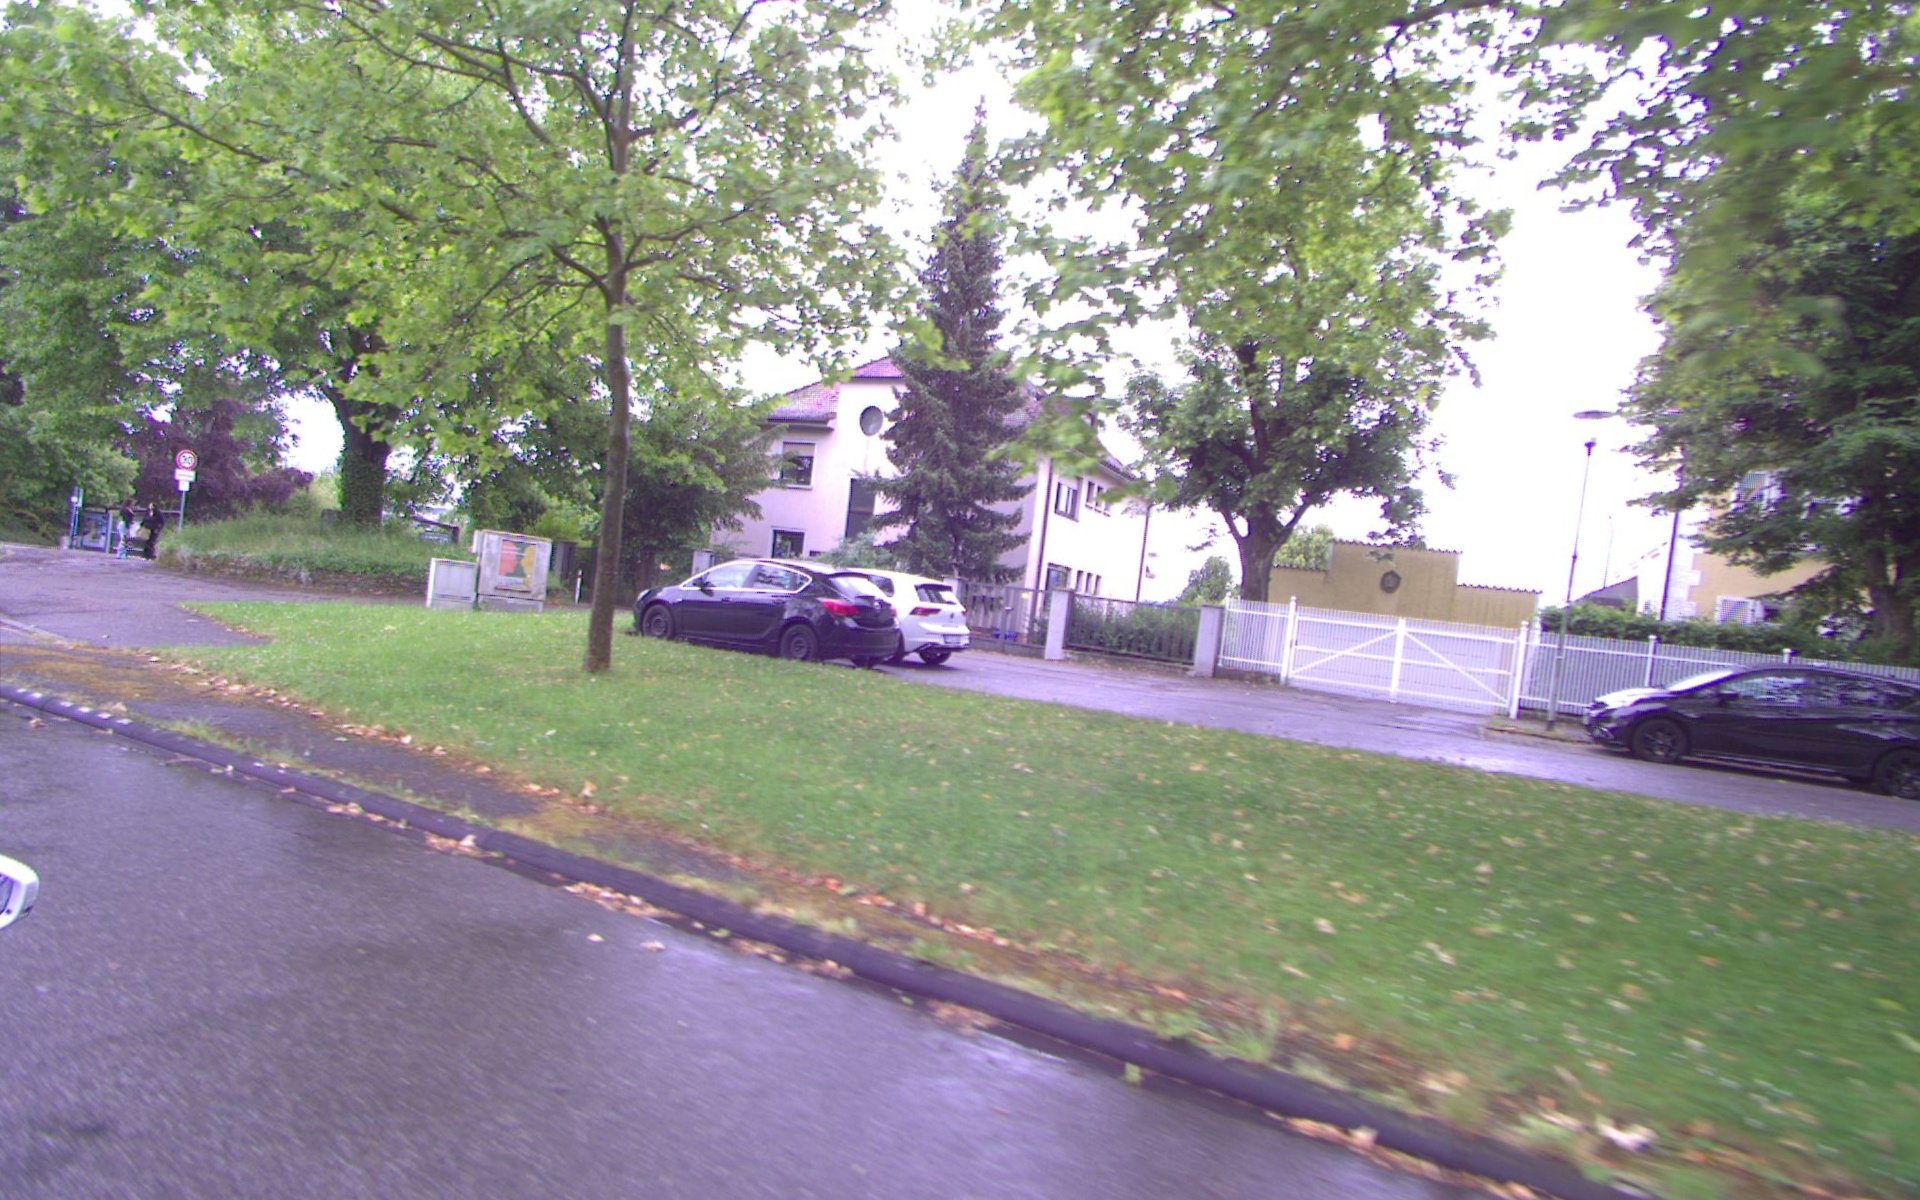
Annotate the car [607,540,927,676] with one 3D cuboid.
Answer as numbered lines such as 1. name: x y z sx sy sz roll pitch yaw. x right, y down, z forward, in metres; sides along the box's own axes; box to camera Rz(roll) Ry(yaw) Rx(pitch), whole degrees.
1. car: -2.920 0.068 14.898 4.520 1.490 1.765 6 2 30

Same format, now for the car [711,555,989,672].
1. car: -1.915 0.194 17.158 4.350 1.490 1.847 6 1 29

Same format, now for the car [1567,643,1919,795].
1. car: 10.977 1.619 13.776 4.280 1.487 1.766 6 -3 27

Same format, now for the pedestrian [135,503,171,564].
1. pedestrian: -24.127 -1.988 30.073 0.632 1.733 0.523 7 -1 -43

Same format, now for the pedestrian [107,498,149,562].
1. pedestrian: -23.991 -2.017 29.007 0.624 1.733 0.530 6 -1 17
